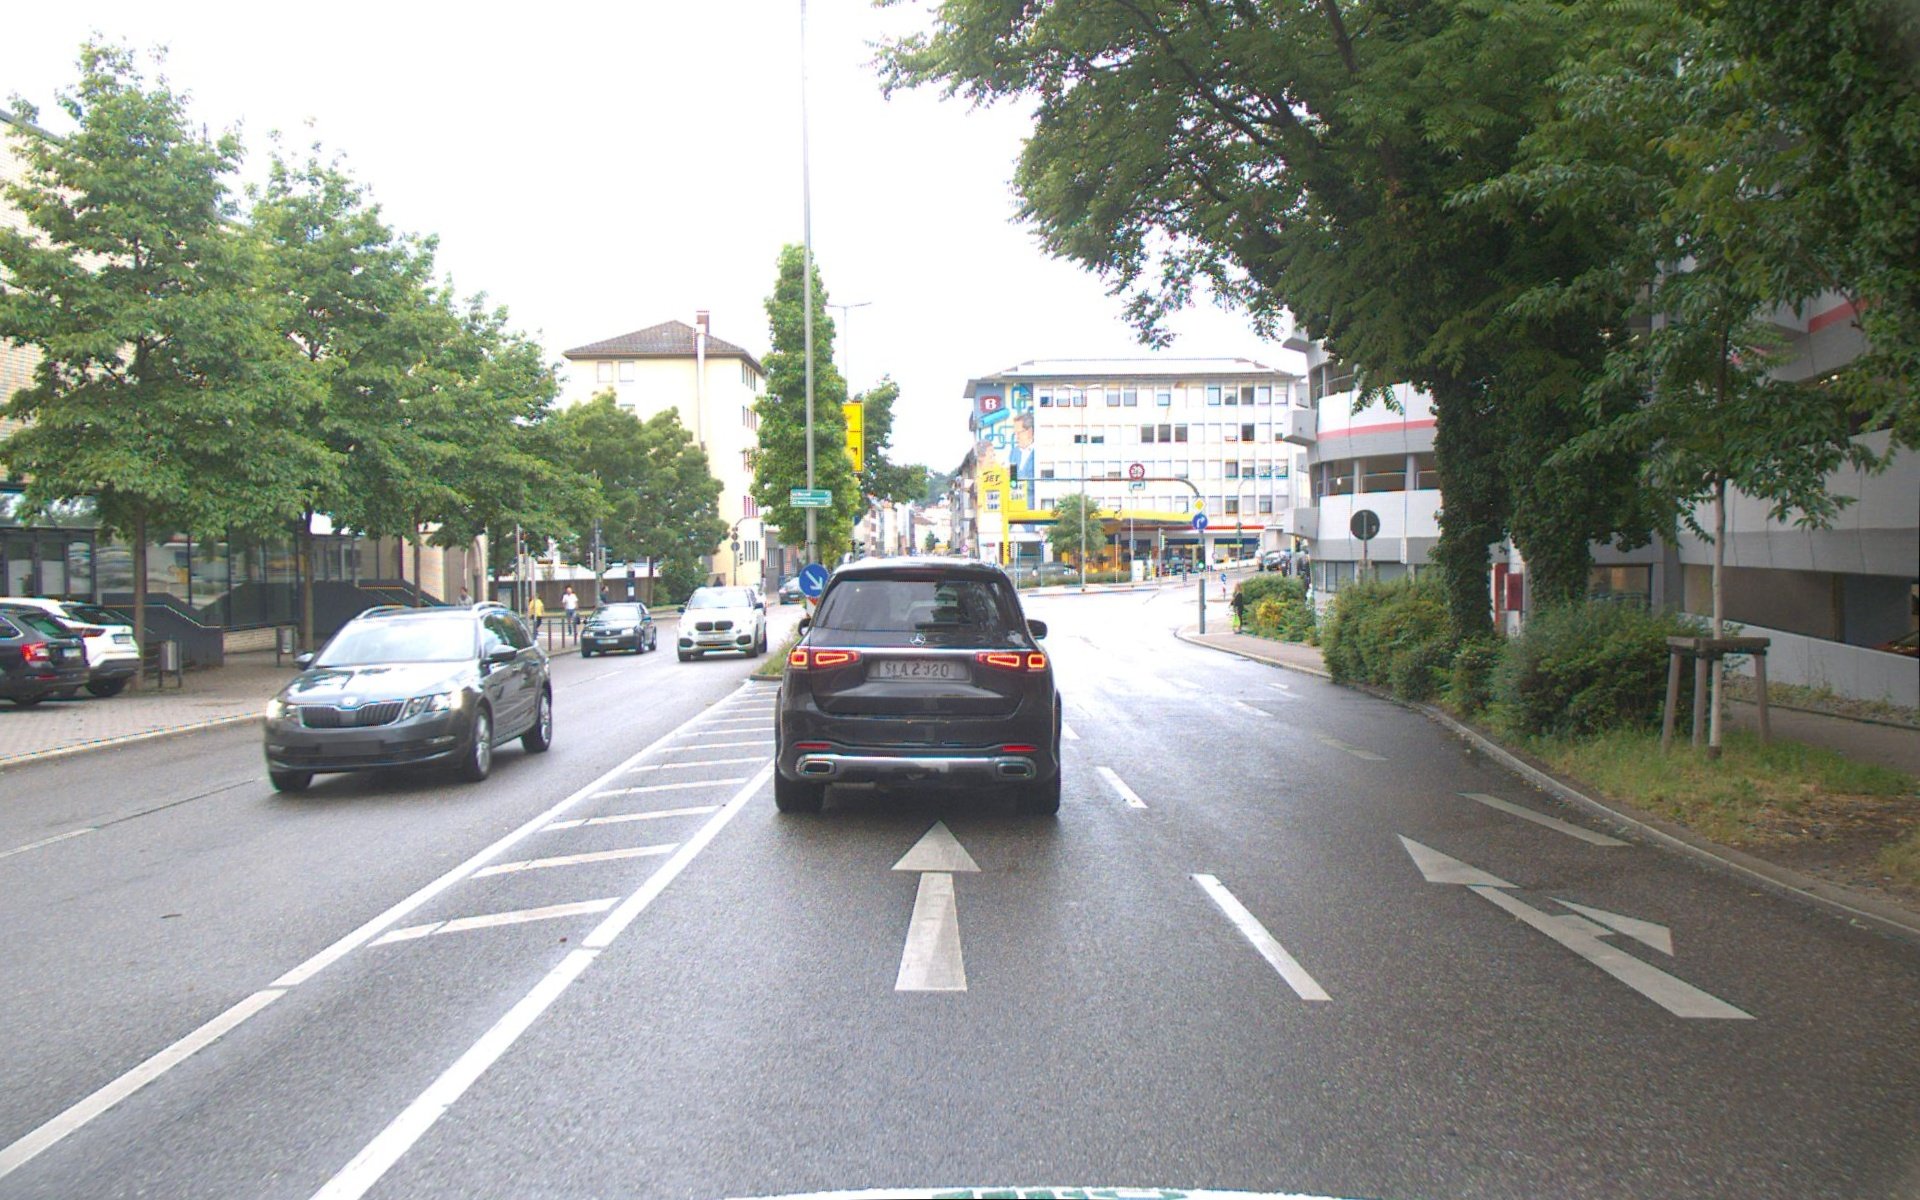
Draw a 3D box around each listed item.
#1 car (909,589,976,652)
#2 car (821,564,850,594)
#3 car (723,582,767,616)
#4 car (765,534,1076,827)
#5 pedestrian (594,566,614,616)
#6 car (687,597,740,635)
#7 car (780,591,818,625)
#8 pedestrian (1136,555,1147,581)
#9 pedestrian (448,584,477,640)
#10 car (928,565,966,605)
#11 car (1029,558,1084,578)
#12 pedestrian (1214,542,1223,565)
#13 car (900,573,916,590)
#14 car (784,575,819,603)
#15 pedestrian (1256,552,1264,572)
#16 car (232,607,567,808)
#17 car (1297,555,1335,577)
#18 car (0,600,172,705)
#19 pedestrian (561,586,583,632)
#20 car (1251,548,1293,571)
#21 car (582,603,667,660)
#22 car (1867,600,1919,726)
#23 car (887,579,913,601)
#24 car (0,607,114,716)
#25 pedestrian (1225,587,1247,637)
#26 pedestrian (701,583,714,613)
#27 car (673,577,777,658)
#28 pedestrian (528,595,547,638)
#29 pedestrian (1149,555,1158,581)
[{"bbox_3d":[-0.530,0.620,50.732,1.953,1.832,3.999,1,-1,0],"label":"car"},{"bbox_3d":[-8.232,-1.362,109.791,1.757,1.886,4.790,-3,0,-3],"label":"car"},{"bbox_3d":[-10.257,-0.058,79.067,1.698,1.494,4.229,-3,1,-3],"label":"car"},{"bbox_3d":[-0.278,0.530,12.572,1.953,1.832,3.999,1,-1,-1],"label":"car"},{"bbox_3d":[-12.850,-0.335,59.757,0.675,1.788,0.716,-1,1,-12],"label":"pedestrian"},{"bbox_3d":[-10.014,0.638,67.520,1.698,1.418,4.197,-3,0,-3],"label":"car"},{"bbox_3d":[-8.344,0.383,86.017,1.698,1.654,4.229,-3,1,-3],"label":"car"},{"bbox_3d":[12.533,-2.209,114.407,0.516,1.757,0.688,0,1,29],"label":"pedestrian"},{"bbox_3d":[-15.327,0.362,50.967,0.630,1.695,1.017,1,-1,-7],"label":"pedestrian"},{"bbox_3d":[-0.726,-0.769,88.943,1.953,2.049,3.999,1,-1,-1],"label":"car"},{"bbox_3d":[7.035,-2.351,120.964,1.724,1.400,3.935,-2,1,-44],"label":"car"},{"bbox_3d":[20.250,-3.660,129.514,0.515,1.757,0.688,0,1,26],"label":"pedestrian"},{"bbox_3d":[-6.531,-2.324,208.253,1.953,2.049,4.000,1,-1,0],"label":"car"},{"bbox_3d":[-9.887,-0.701,103.412,1.850,1.614,4.535,-3,0,-2],"label":"car"},{"bbox_3d":[24.555,-3.111,135.365,0.474,1.669,0.438,1,-1,28],"label":"pedestrian"},{"bbox_3d":[-4.939,0.857,15.225,1.776,1.488,4.285,-3,0,-3],"label":"car"},{"bbox_3d":[26.521,-2.529,123.119,1.761,1.552,4.051,1,1,27],"label":"car"},{"bbox_3d":[-15.227,0.802,26.628,4.090,1.574,2.000,1,-1,0],"label":"car"},{"bbox_3d":[-14.411,0.321,61.419,0.676,1.685,0.612,-1,1,-8],"label":"pedestrian"},{"bbox_3d":[24.784,-3.187,131.235,1.958,1.735,3.990,-1,1,33],"label":"car"},{"bbox_3d":[-9.530,0.868,47.213,1.710,1.437,3.969,-3,0,-3],"label":"car"},{"bbox_3d":[15.620,0.905,24.548,3.381,1.814,1.817,0,0,11],"label":"car"},{"bbox_3d":[-4.716,-0.764,128.613,1.954,1.642,4.187,1,-1,-3],"label":"car"},{"bbox_3d":[-15.027,0.855,24.328,4.097,1.521,1.997,1,-1,-7],"label":"car"},{"bbox_3d":[9.661,0.428,57.868,0.634,1.740,0.470,0,-1,35],"label":"pedestrian"},{"bbox_3d":[-14.927,-0.127,97.797,0.635,1.757,0.628,-1,1,-5],"label":"pedestrian"},{"bbox_3d":[-5.822,0.404,41.510,1.852,1.843,4.574,-3,0,0],"label":"car"},{"bbox_3d":[-15.740,0.613,61.634,0.429,1.560,0.546,-1,1,13],"label":"pedestrian"},{"bbox_3d":[13.189,-2.169,112.714,0.560,1.727,0.631,1,-1,0],"label":"pedestrian"}]
